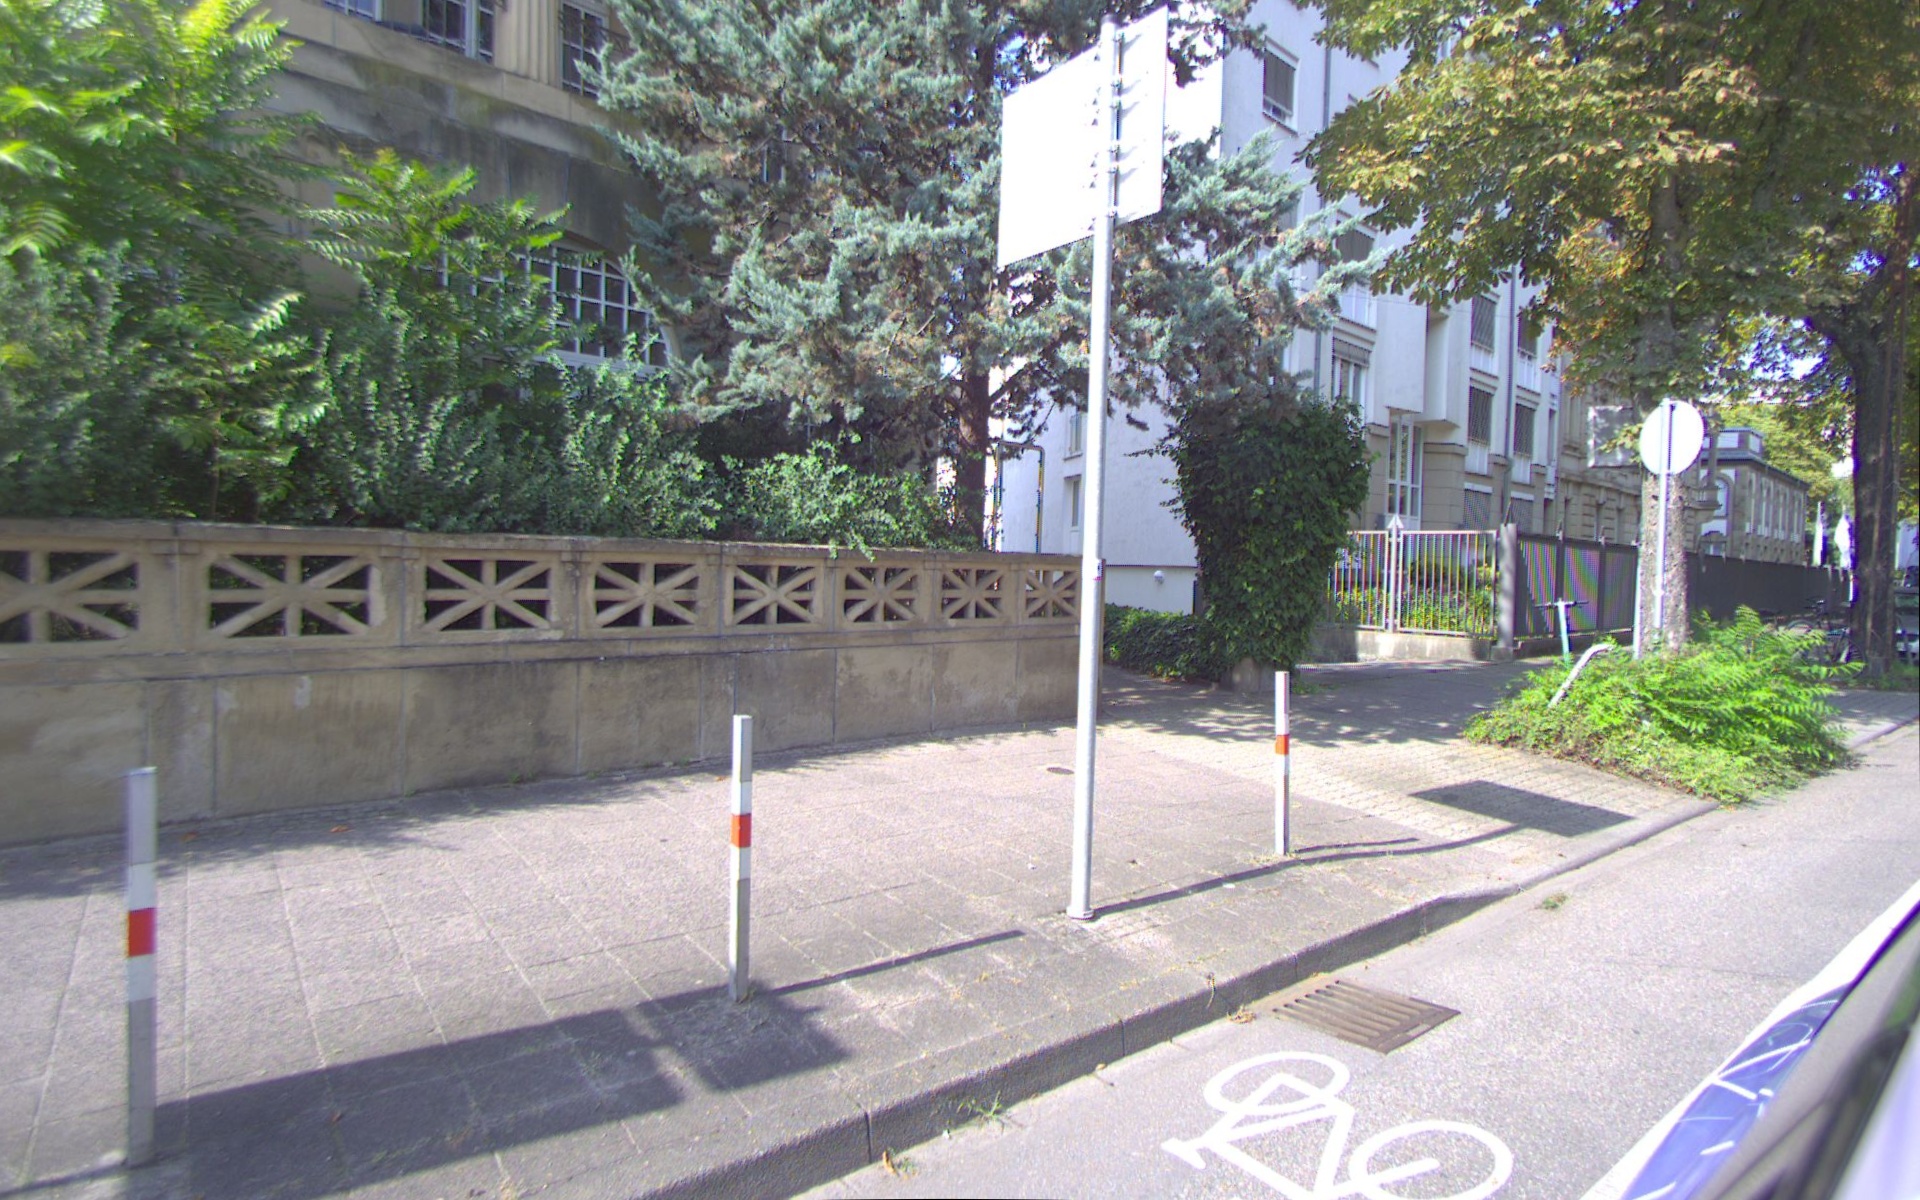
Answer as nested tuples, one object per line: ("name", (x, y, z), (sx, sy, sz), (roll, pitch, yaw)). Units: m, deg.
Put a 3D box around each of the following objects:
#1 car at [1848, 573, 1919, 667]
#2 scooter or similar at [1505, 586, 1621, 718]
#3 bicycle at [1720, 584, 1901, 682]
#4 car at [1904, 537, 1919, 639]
("car", (17.941, 0.349, 18.773), (4.282, 1.541, 1.610), (-1, 6, -42))
("scooter or similar", (6.055, 0.493, 10.162), (1.015, 1.211, 0.560), (0, 5, -36))
("bicycle", (11.896, 0.443, 14.213), (1.812, 1.179, 0.504), (4, 8, 9))
("car", (26.536, -0.264, 26.473), (6.122, 2.529, 2.050), (0, 3, -42))
